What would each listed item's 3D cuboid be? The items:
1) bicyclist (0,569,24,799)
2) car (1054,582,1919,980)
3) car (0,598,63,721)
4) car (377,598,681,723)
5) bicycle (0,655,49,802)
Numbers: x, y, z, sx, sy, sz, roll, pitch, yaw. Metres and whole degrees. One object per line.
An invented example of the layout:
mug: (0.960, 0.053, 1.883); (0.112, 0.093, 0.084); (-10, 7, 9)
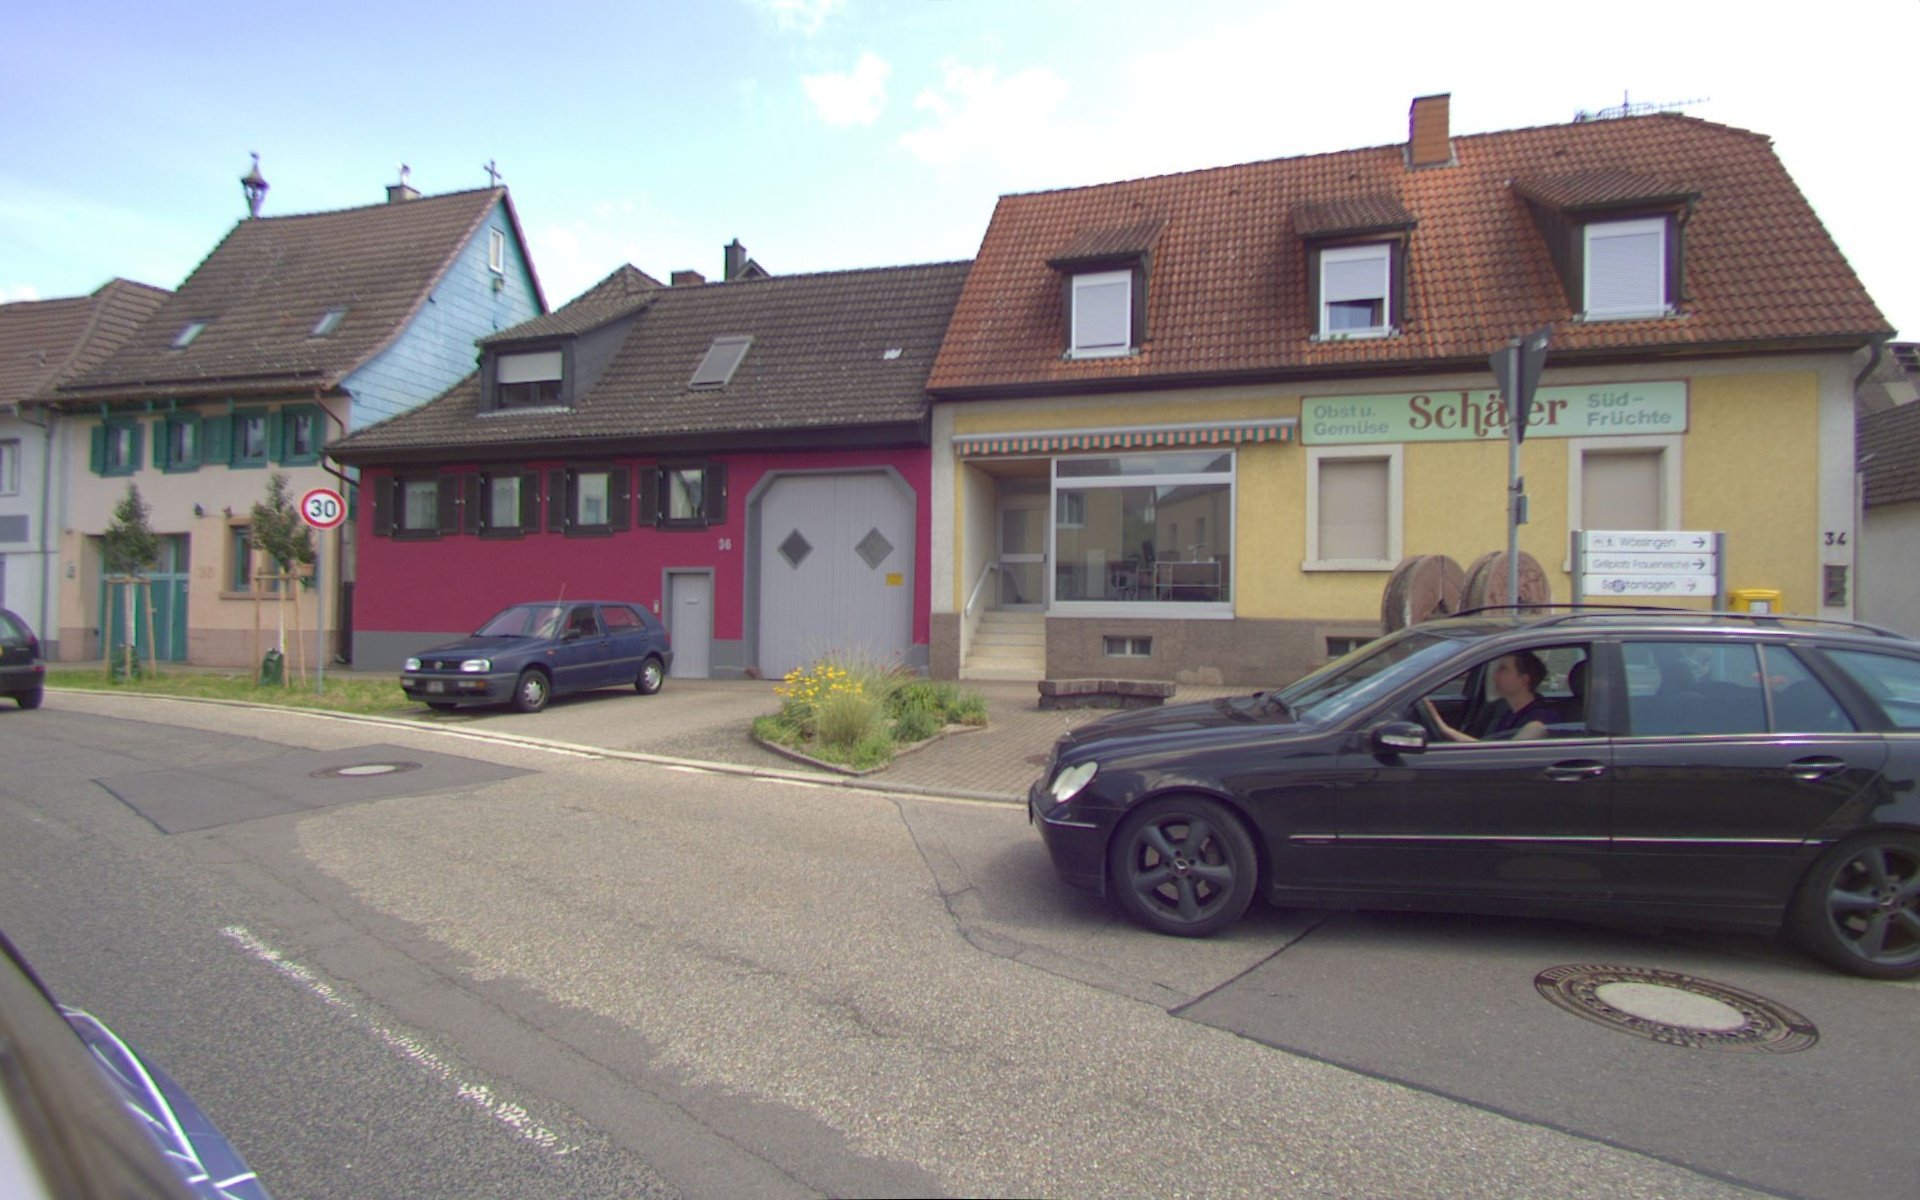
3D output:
bicyclist: (-7.594, 0.615, 7.399); (0.758, 1.701, 0.901); (1, 0, 29)
car: (2.755, 0.678, 4.761); (4.579, 1.422, 1.811); (1, 0, 6)
car: (-14.202, 0.764, 13.845); (3.834, 1.551, 1.492); (1, 2, 25)
car: (-5.792, 0.718, 14.154); (1.708, 1.475, 3.954); (0, 0, 19)
bicycle: (-7.758, 0.941, 7.502); (1.916, 1.019, 0.925); (-1, -1, 29)
